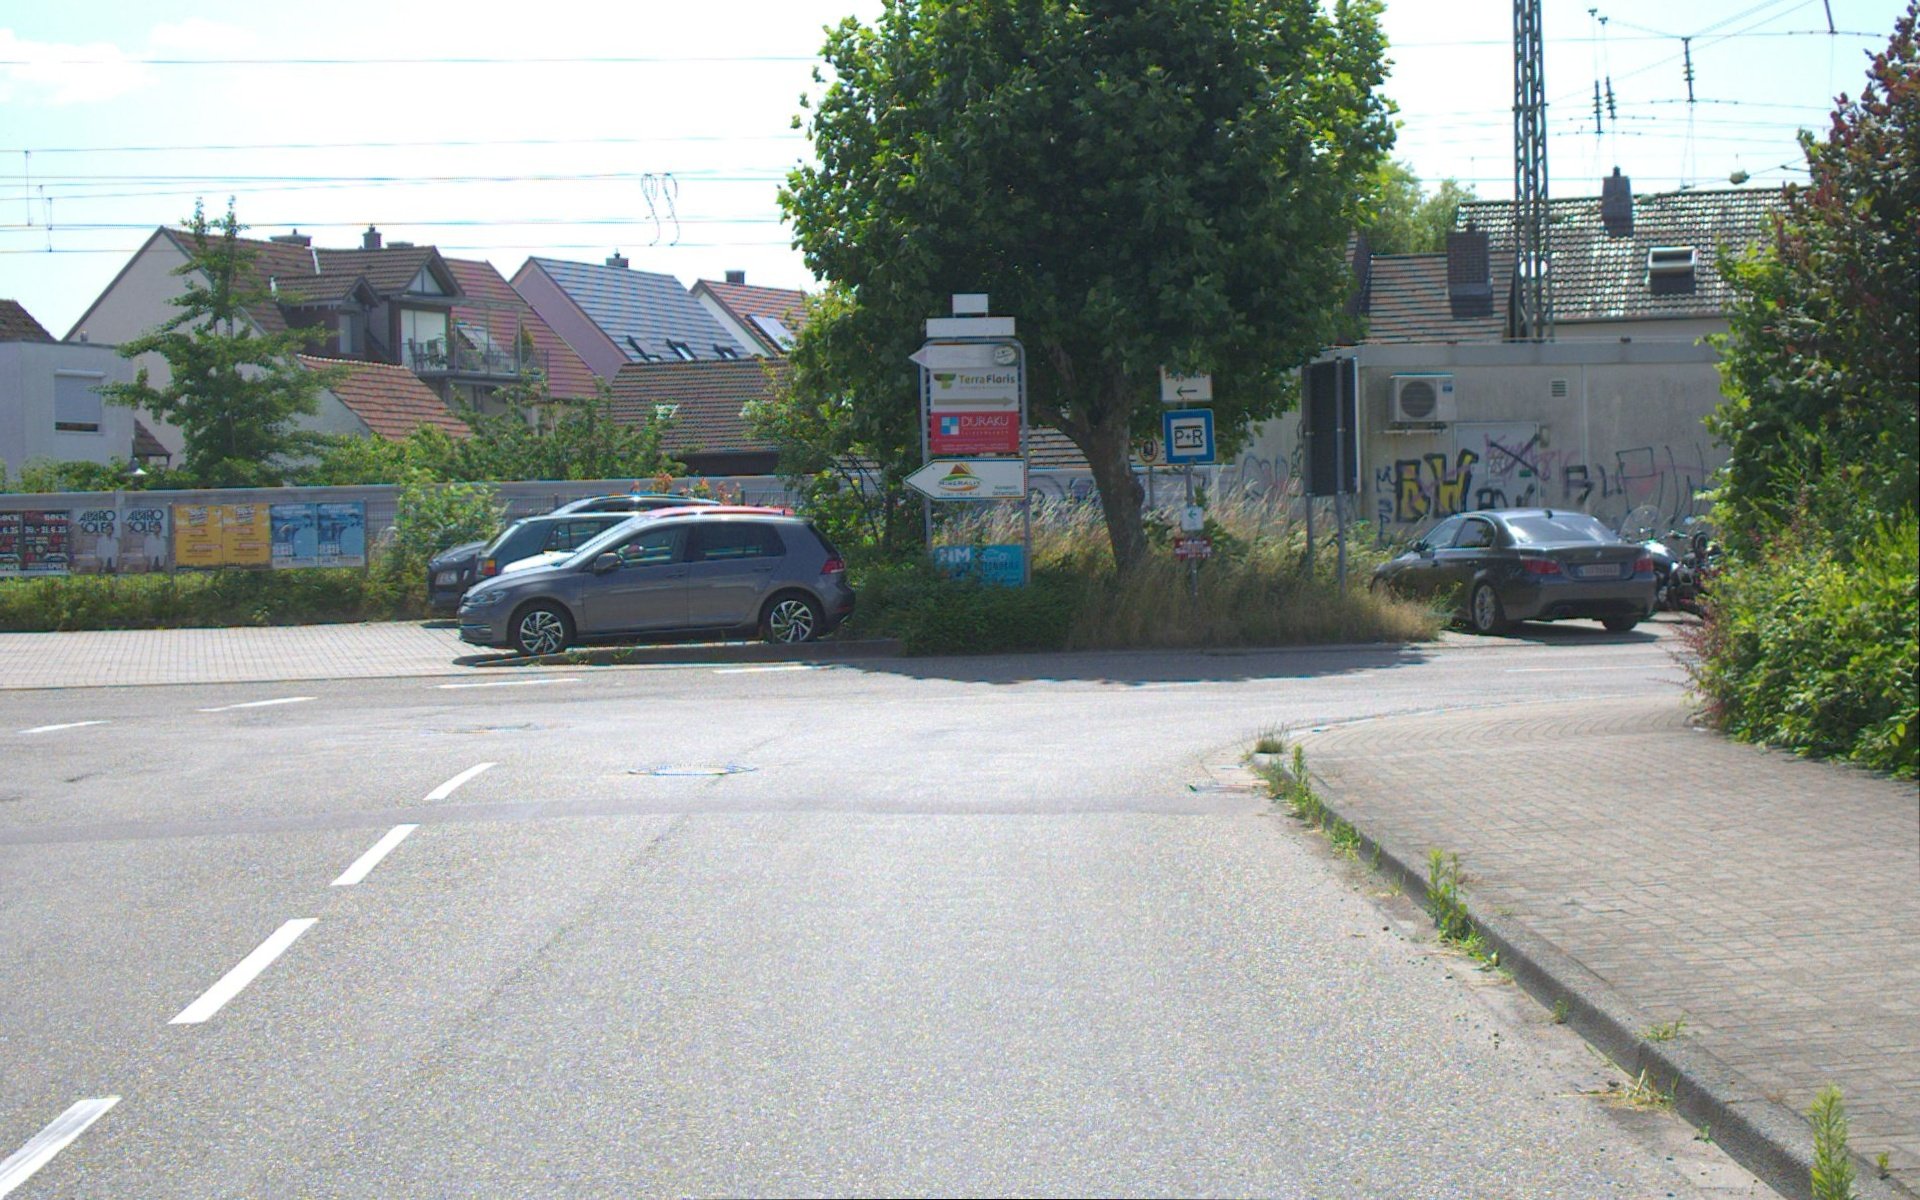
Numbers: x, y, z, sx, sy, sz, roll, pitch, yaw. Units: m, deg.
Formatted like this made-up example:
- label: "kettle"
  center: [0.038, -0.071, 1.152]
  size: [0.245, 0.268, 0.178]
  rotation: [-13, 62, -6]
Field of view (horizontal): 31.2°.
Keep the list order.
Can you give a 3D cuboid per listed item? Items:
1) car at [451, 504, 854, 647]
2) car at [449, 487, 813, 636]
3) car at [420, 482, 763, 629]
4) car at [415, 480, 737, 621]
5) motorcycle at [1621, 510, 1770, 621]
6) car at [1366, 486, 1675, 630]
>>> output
- label: "car"
  center: [-3.321, -0.276, 36.781]
  size: [4.186, 1.458, 1.665]
  rotation: [0, 1, -9]
- label: "car"
  center: [-3.786, -0.450, 39.238]
  size: [3.986, 1.581, 1.780]
  rotation: [-1, 1, -9]
- label: "car"
  center: [-4.500, -0.561, 41.734]
  size: [3.986, 1.651, 2.001]
  rotation: [-1, 2, -10]
- label: "car"
  center: [-4.952, -0.633, 44.104]
  size: [3.986, 1.724, 1.771]
  rotation: [1, 1, -10]
- label: "motorcycle"
  center: [8.736, -0.425, 40.917]
  size: [0.897, 1.224, 1.997]
  rotation: [-2, 3, -16]
- label: "car"
  center: [6.436, -0.526, 39.944]
  size: [1.751, 1.381, 4.002]
  rotation: [0, 5, -20]
